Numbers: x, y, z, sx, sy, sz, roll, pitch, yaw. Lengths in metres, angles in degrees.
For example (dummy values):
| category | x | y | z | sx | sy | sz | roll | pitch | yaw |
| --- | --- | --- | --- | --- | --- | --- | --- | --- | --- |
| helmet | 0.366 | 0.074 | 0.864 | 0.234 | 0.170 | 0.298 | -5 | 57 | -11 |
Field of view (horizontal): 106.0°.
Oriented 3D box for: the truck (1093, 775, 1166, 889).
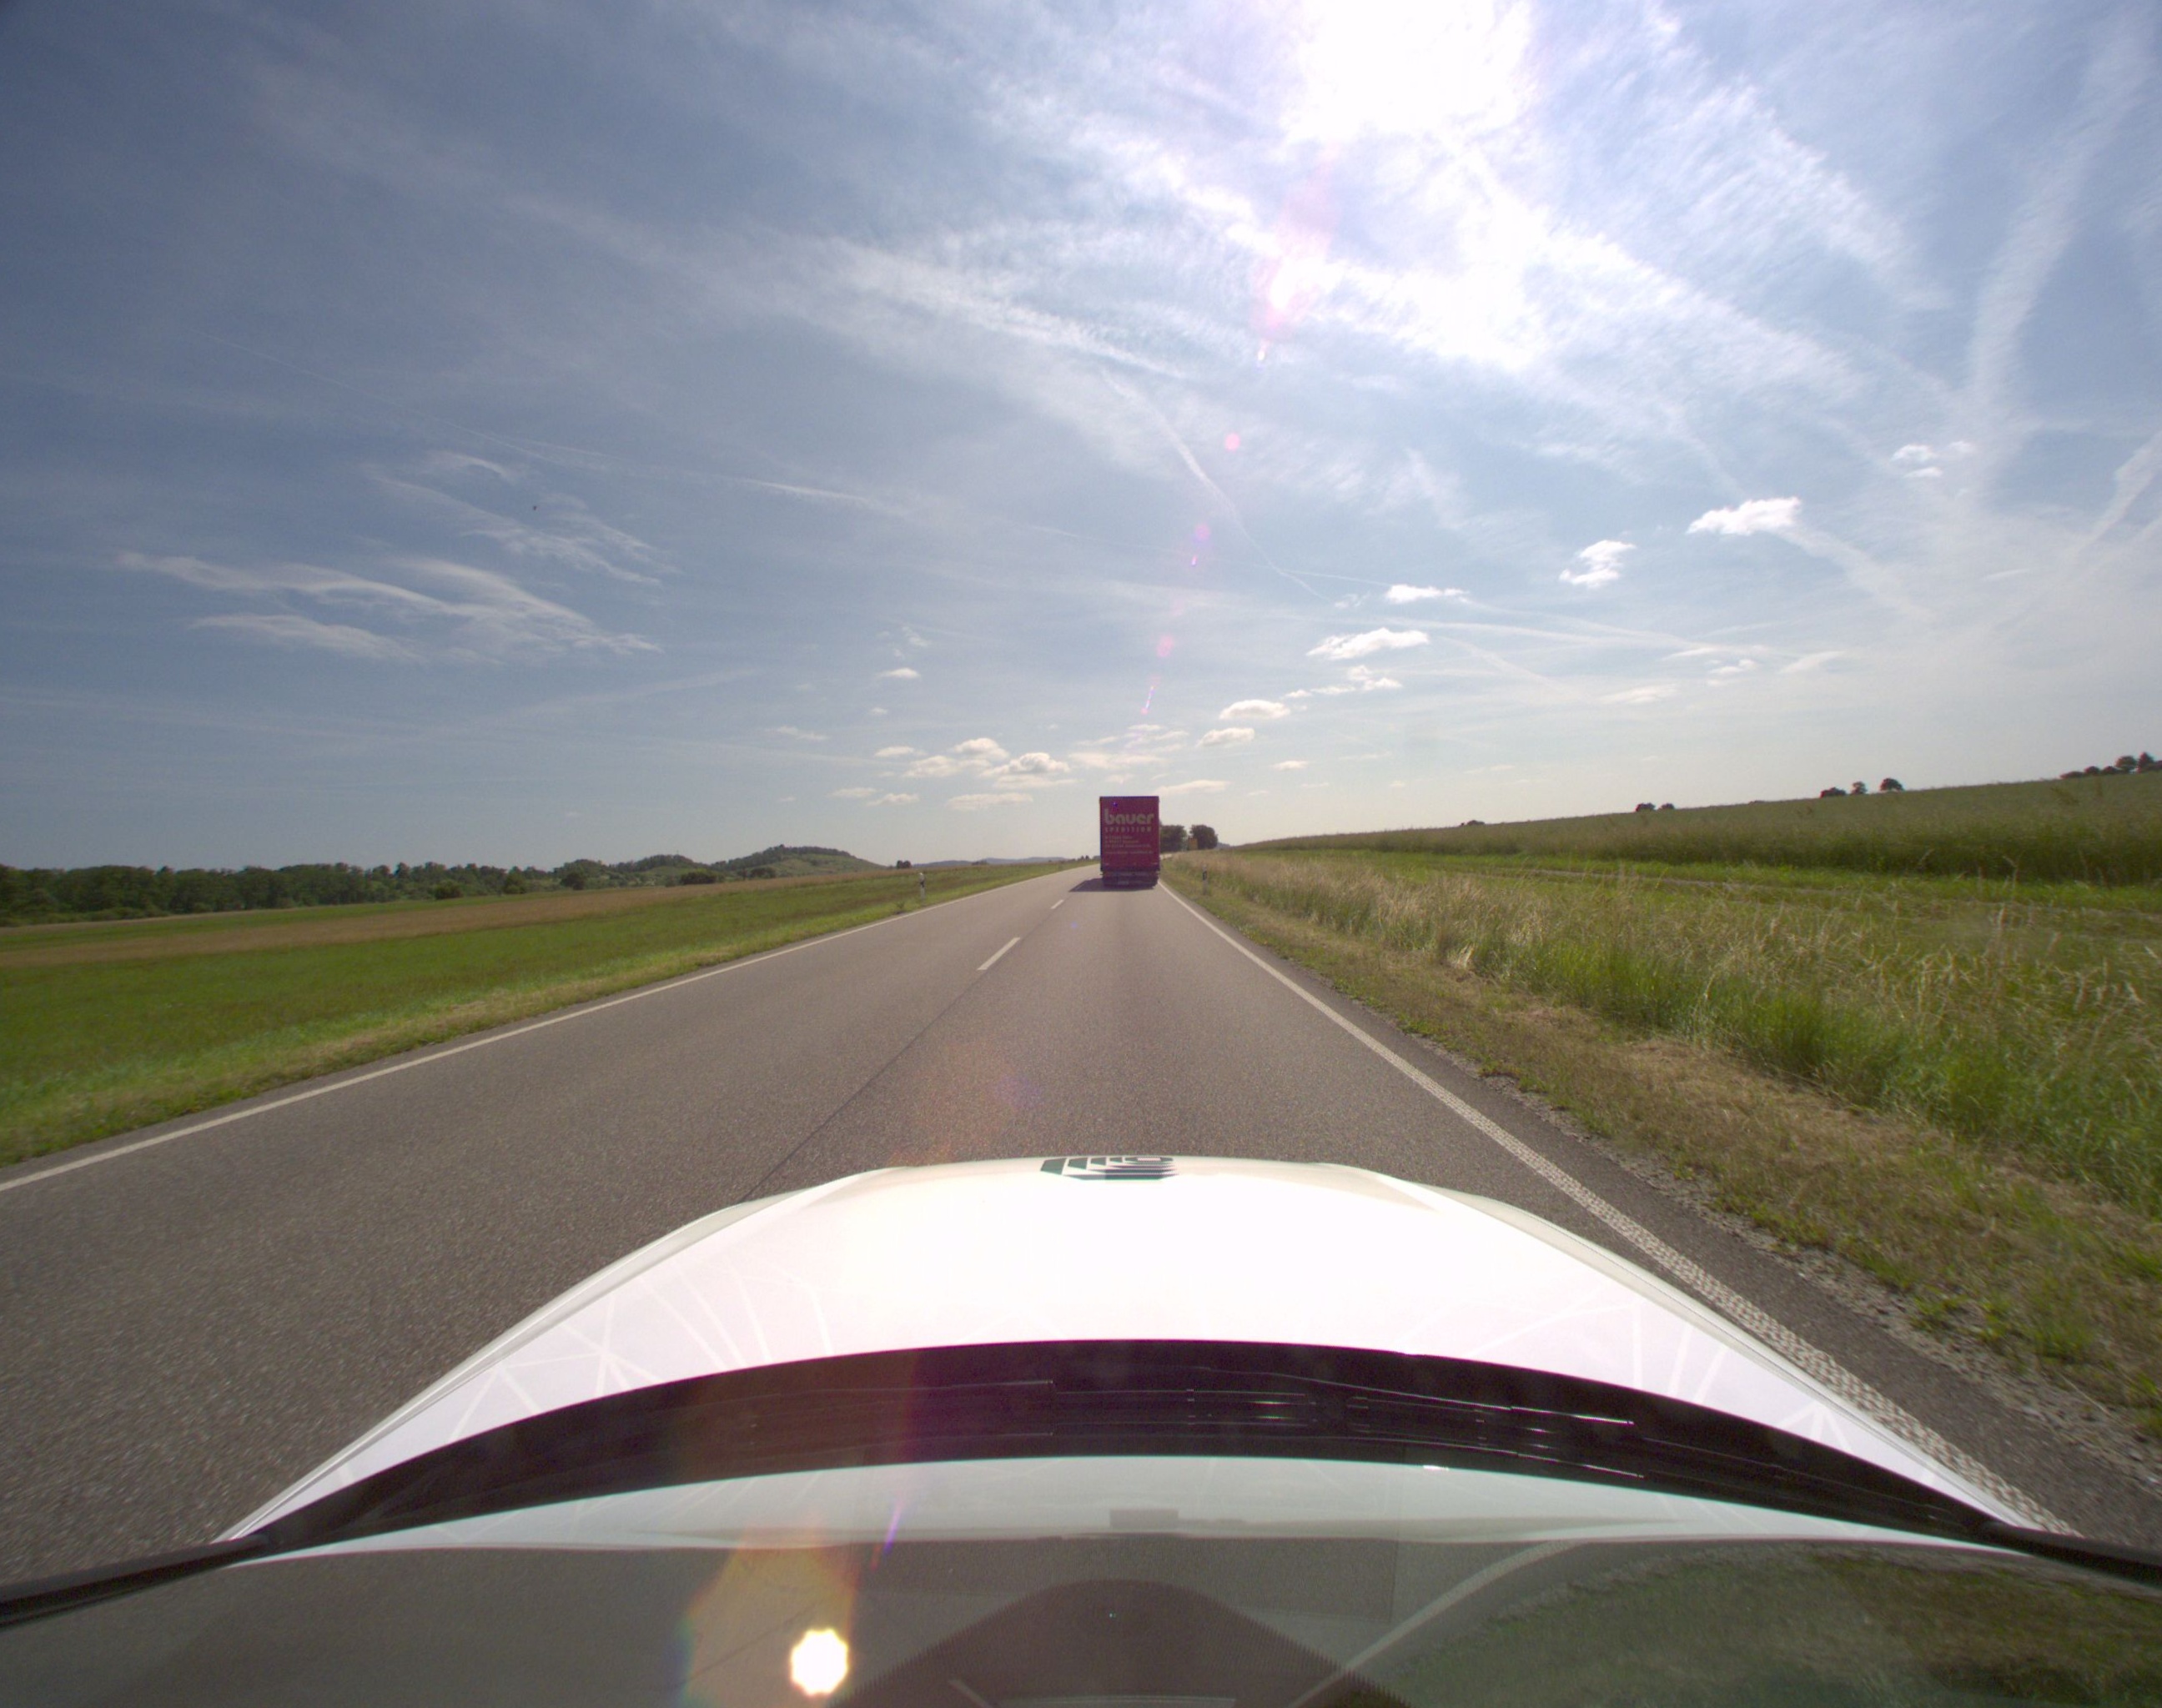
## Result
| category | x | y | z | sx | sy | sz | roll | pitch | yaw |
| --- | --- | --- | --- | --- | --- | --- | --- | --- | --- |
| truck | 2.388 | -0.954 | 39.010 | 2.962 | 4.713 | 9.377 | -1 | 0 | 4 |
